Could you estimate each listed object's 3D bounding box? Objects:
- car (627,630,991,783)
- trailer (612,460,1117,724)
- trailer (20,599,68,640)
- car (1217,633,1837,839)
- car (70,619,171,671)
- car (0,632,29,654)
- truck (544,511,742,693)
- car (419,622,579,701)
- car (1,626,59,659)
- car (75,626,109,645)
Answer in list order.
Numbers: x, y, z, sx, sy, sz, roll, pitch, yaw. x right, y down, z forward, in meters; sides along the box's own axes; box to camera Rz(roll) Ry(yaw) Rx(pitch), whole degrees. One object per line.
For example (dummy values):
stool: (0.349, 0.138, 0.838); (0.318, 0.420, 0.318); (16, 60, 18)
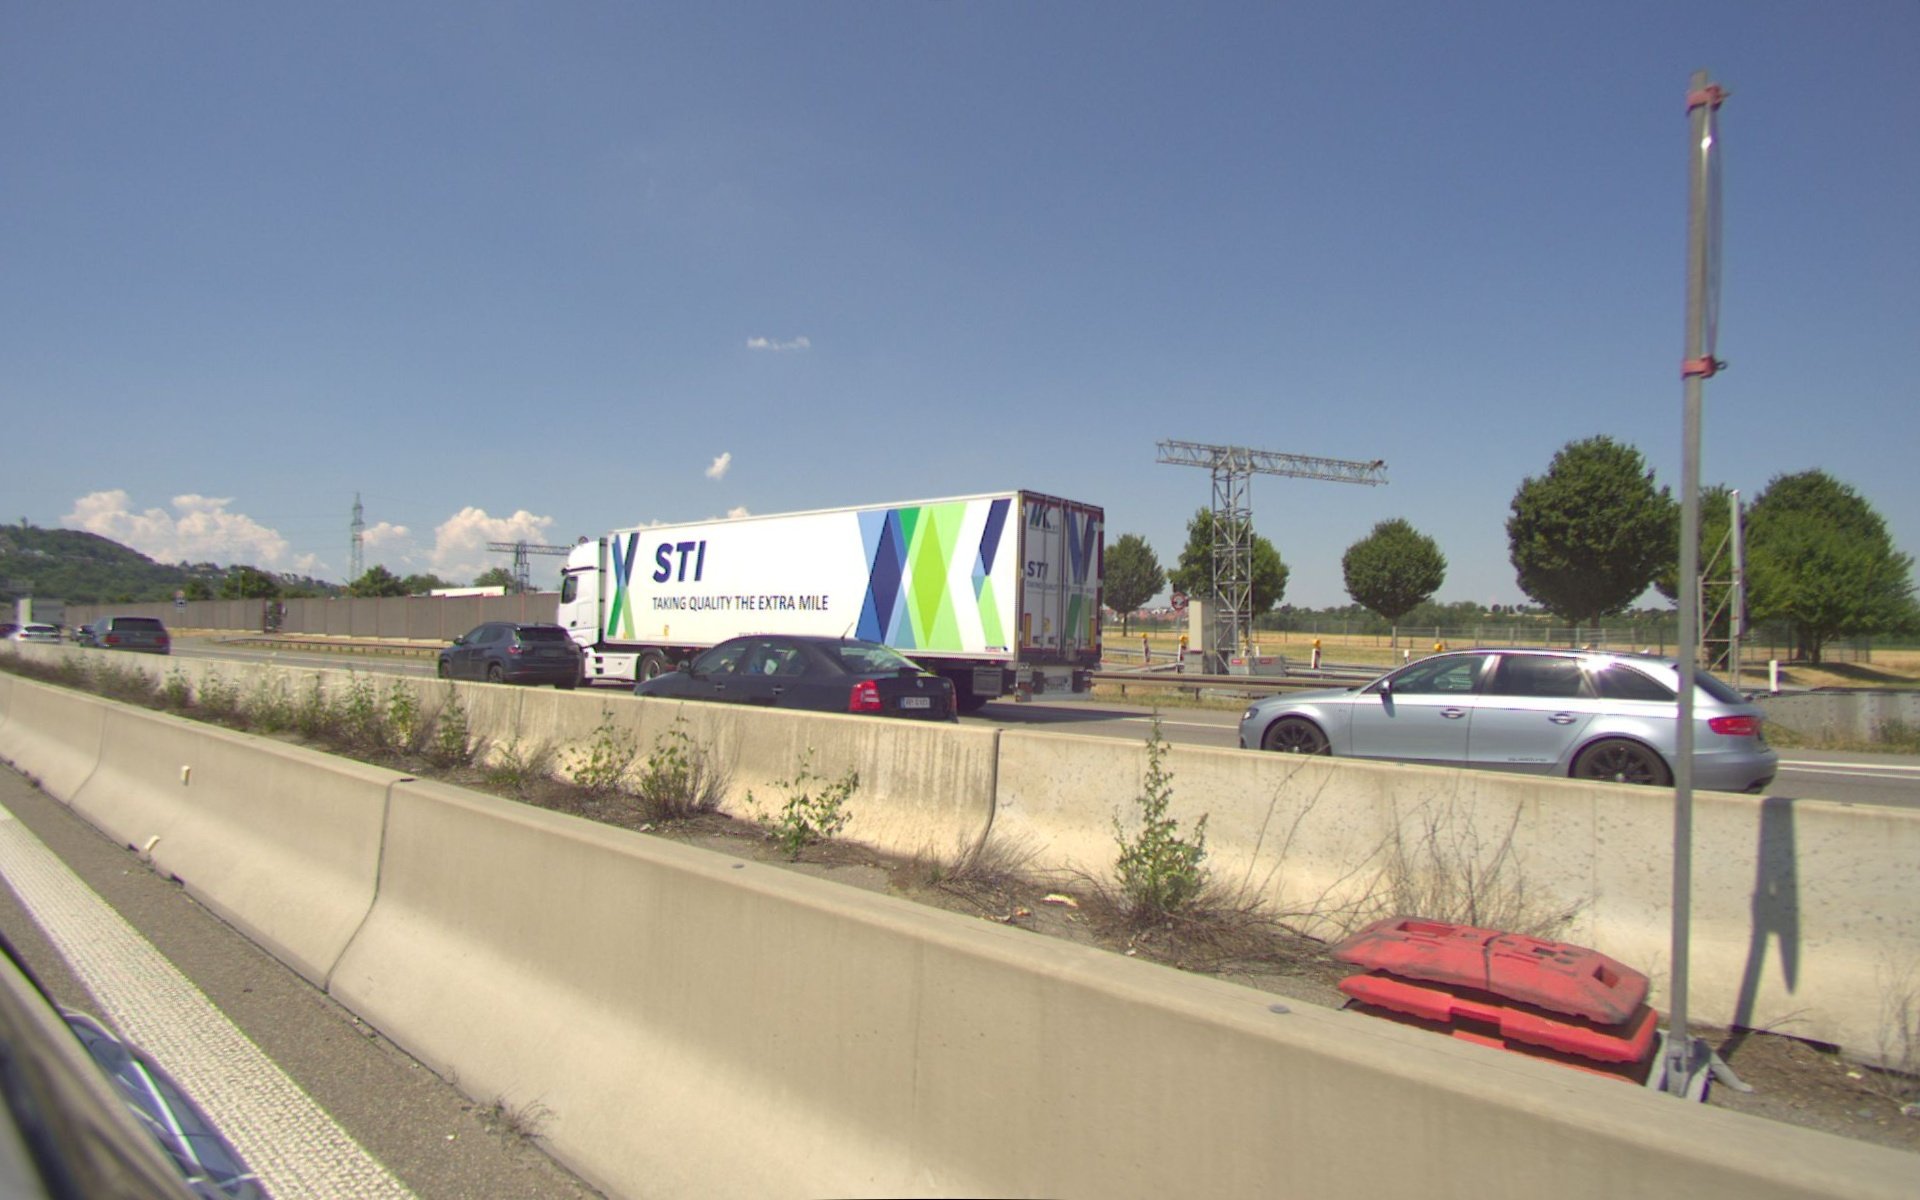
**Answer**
car: (-1.817, 1.025, 11.193); (4.265, 1.362, 1.638); (-2, -2, 41)
trailer: (-2.875, 0.028, 22.249); (12.987, 4.408, 2.862); (-1, -4, 41)
trailer: (-88.257, 1.892, 97.473); (6.613, 3.903, 2.620); (-1, -2, 41)
car: (5.135, 1.085, 9.708); (4.919, 1.494, 1.827); (-2, -4, 41)
car: (-28.350, 1.452, 34.120); (4.818, 1.629, 1.870); (-1, -1, 41)
car: (-80.032, 3.608, 85.195); (3.998, 1.772, 1.973); (-2, -2, 41)
truck: (-8.566, 0.154, 27.228); (4.900, 4.408, 2.840); (-1, -4, 41)
car: (-10.772, 1.357, 23.478); (4.663, 1.664, 1.638); (-2, -2, 41)
car: (-46.367, 2.073, 50.429); (4.506, 1.530, 1.657); (-1, -1, 41)
car: (-72.177, 2.951, 84.146); (3.998, 1.530, 1.638); (-1, -1, 41)
